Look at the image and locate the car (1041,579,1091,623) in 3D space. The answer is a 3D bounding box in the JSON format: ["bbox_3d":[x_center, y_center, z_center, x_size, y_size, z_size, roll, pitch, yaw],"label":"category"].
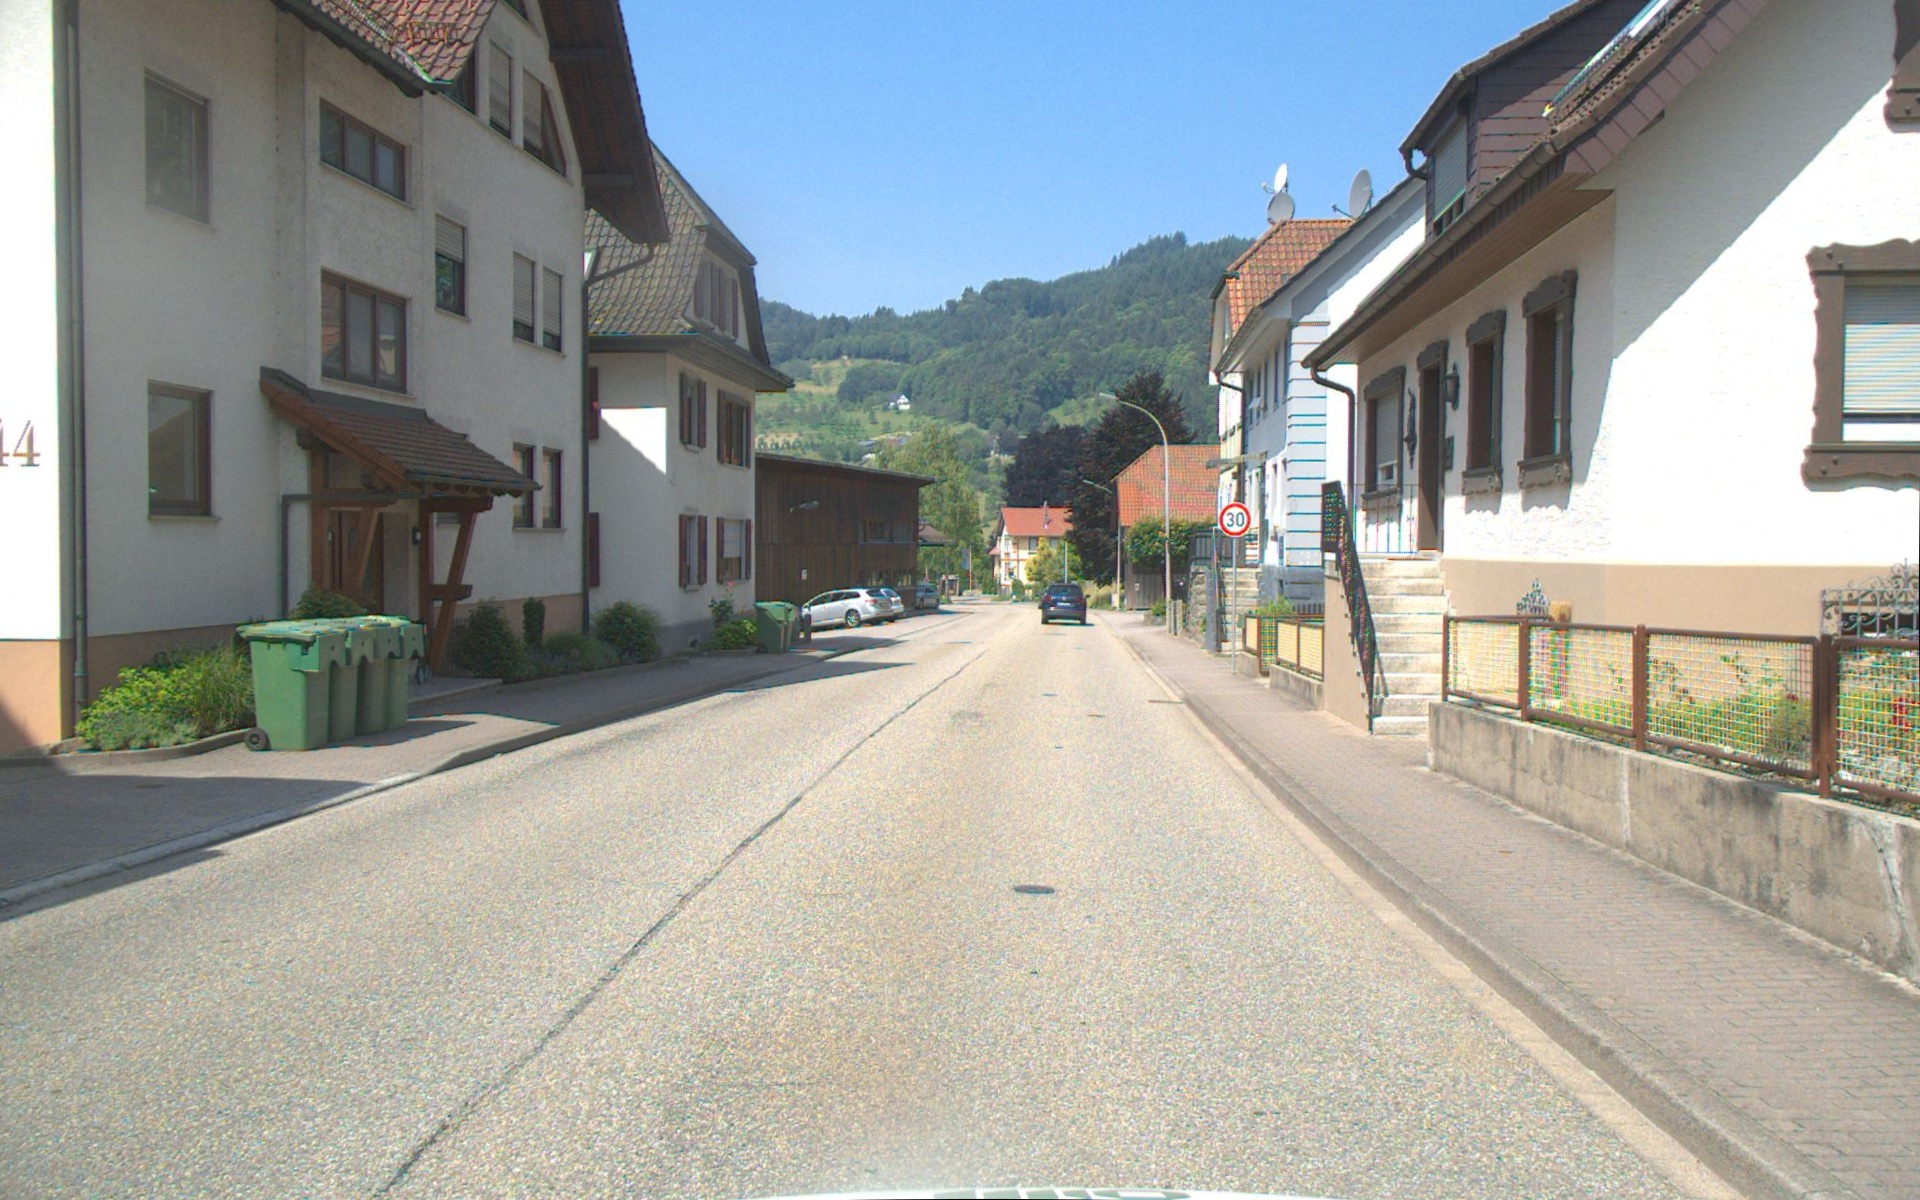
[{"bbox_3d":[4.289,0.028,66.582,1.879,1.728,3.791,-1,0,5],"label":"car"}]

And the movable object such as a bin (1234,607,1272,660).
[{"bbox_3d":[5.918,0.670,33.398,0.689,1.038,0.618,0,0,5],"label":"movable object such as a bin"}]

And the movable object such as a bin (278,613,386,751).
[{"bbox_3d":[-5.722,0.738,15.093,0.702,1.202,0.598,-2,0,4],"label":"movable object such as a bin"}]

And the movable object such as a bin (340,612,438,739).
[{"bbox_3d":[-5.654,0.737,16.401,0.702,1.202,0.598,-2,0,4],"label":"movable object such as a bin"}]

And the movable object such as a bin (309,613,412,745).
[{"bbox_3d":[-5.696,0.738,15.745,0.702,1.202,0.598,-2,0,4],"label":"movable object such as a bin"}]

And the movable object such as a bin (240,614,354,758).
[{"bbox_3d":[-5.776,0.738,14.435,0.702,1.202,0.598,-2,0,4],"label":"movable object such as a bin"}]

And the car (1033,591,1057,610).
[{"bbox_3d":[5.843,0.020,113.441,1.447,1.230,2.383,-1,0,-1],"label":"car"}]

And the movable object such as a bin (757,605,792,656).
[{"bbox_3d":[-3.999,0.659,35.630,0.662,1.085,0.654,0,0,2],"label":"movable object such as a bin"}]

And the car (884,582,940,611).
[{"bbox_3d":[-2.690,-0.229,92.990,1.692,1.479,4.808,1,2,17],"label":"car"}]

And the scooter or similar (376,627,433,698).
[{"bbox_3d":[-6.773,0.759,20.182,0.495,0.841,0.537,0,0,3],"label":"scooter or similar"}]

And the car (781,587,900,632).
[{"bbox_3d":[-4.791,0.367,65.979,4.346,1.500,1.921,-4,0,29],"label":"car"}]

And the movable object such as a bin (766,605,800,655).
[{"bbox_3d":[-3.896,0.649,36.370,0.662,1.085,0.621,0,0,2],"label":"movable object such as a bin"}]

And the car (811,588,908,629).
[{"bbox_3d":[-4.178,0.347,68.940,3.583,1.409,1.712,-4,-1,19],"label":"car"}]
